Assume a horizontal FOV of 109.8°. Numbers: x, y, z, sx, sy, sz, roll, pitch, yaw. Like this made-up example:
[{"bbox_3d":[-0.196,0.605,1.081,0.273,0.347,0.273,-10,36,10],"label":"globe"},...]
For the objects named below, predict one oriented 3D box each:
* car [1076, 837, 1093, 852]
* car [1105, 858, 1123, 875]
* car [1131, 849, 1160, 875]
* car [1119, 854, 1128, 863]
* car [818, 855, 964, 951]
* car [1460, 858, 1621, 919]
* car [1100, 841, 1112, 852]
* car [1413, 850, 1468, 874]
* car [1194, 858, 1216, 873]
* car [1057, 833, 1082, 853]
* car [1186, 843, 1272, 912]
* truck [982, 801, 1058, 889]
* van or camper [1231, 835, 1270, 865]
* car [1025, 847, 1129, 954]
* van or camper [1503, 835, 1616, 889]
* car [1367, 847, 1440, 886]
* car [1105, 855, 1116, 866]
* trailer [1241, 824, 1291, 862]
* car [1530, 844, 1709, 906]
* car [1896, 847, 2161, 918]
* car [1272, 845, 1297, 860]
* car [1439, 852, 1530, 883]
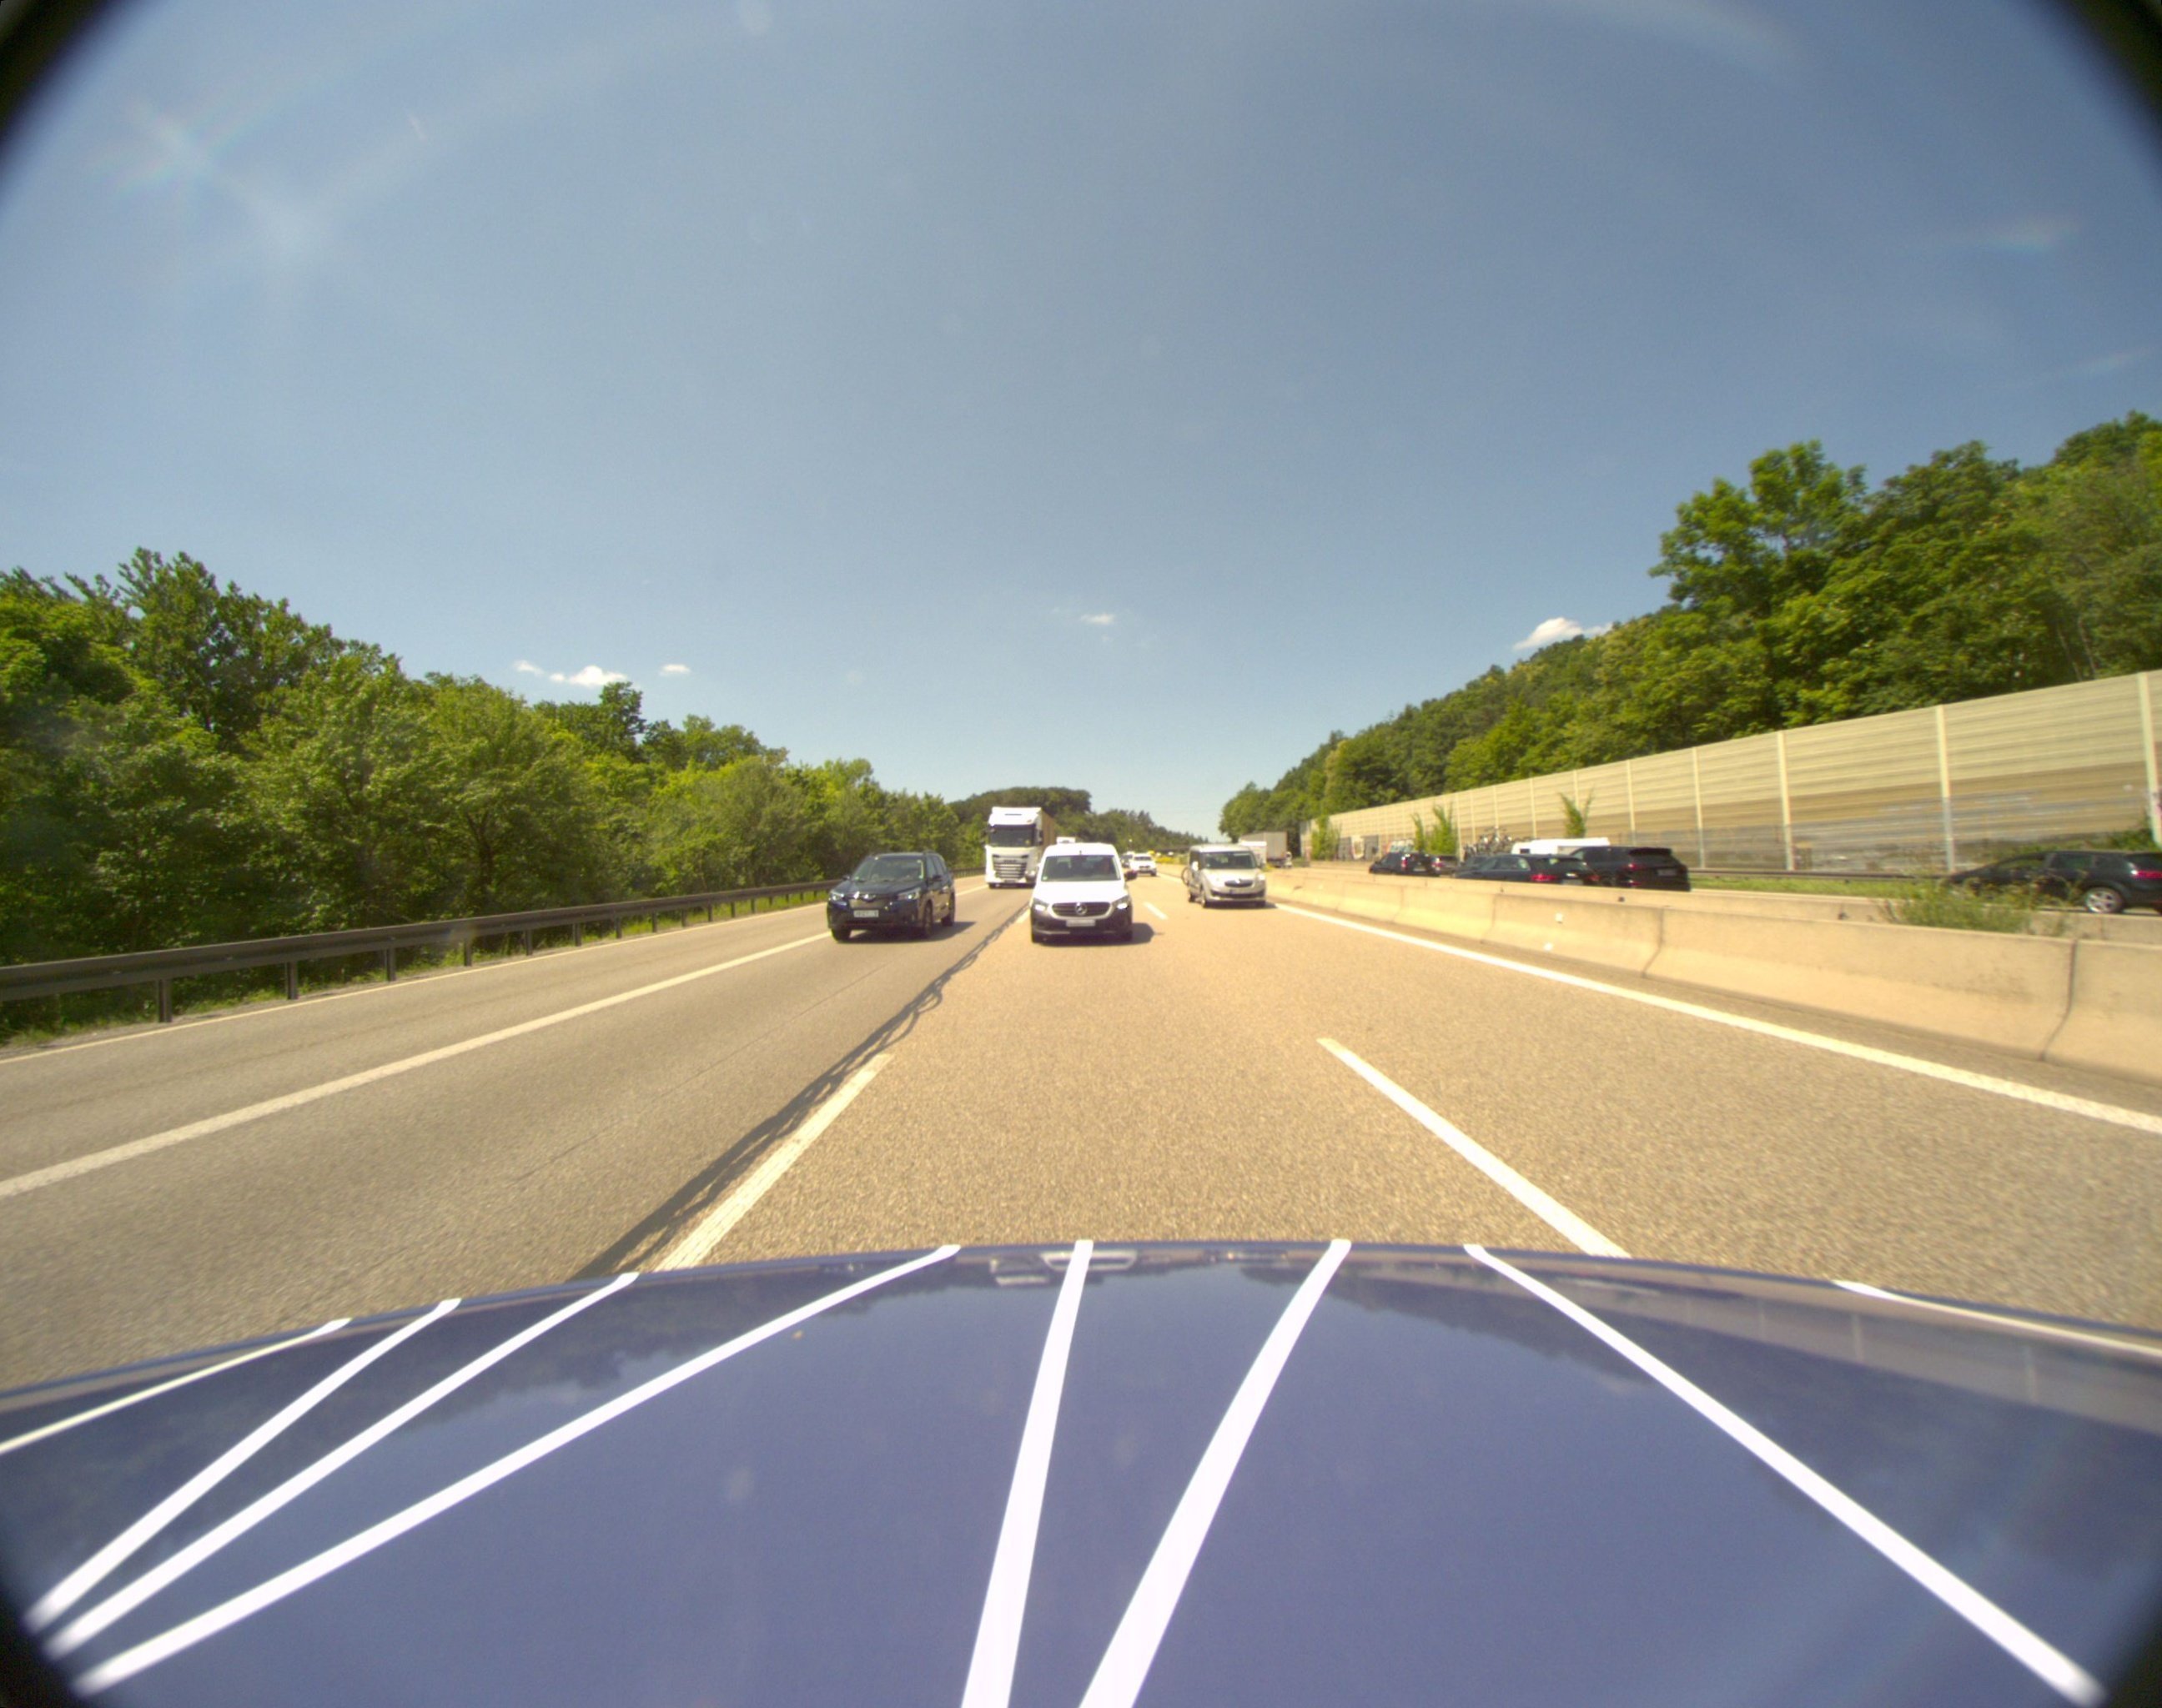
[{"bbox_3d":[0.668,-1.718,136.983,2.721,2.534,5.941,-1,1,3],"label":"car"},{"bbox_3d":[3.935,1.505,91.380,1.998,2.002,4.000,-1,0,1],"label":"car"},{"bbox_3d":[4.767,0.579,56.694,1.998,1.827,4.001,-1,0,3],"label":"car"},{"bbox_3d":[9.584,1.003,172.283,1.998,2.002,4.001,-1,0,3],"label":"car"},{"bbox_3d":[-3.730,0.882,15.729,1.816,1.658,4.203,-1,1,2],"label":"car"},{"bbox_3d":[11.717,0.813,19.738,1.618,1.368,4.270,-1,0,1],"label":"car"},{"bbox_3d":[6.077,-1.856,181.982,2.721,2.534,5.941,-1,1,3],"label":"car"},{"bbox_3d":[23.306,0.489,49.440,1.581,1.453,4.388,-1,0,1],"label":"car"},{"bbox_3d":[13.652,1.248,83.836,1.715,1.529,4.128,-1,0,0],"label":"car"},{"bbox_3d":[-1.406,-1.413,97.181,2.721,2.534,5.941,-1,1,3],"label":"car"},{"bbox_3d":[4.264,0.623,22.482,1.780,1.833,4.000,-1,0,1],"label":"car"},{"bbox_3d":[-3.145,-0.447,44.349,2.790,4.144,16.267,-1,0,1],"label":"truck"},{"bbox_3d":[16.276,-0.406,73.468,2.275,2.720,6.805,-1,1,0],"label":"van or camper"},{"bbox_3d":[0.070,0.761,14.837,1.729,1.760,4.313,0,1,4],"label":"car"},{"bbox_3d":[18.651,0.289,29.847,2.081,1.965,3.704,-1,0,-1],"label":"van or camper"},{"bbox_3d":[15.131,0.557,35.876,1.697,1.673,4.196,-1,0,1],"label":"car"},{"bbox_3d":[5.316,1.155,135.907,1.902,2.002,4.000,-1,0,2],"label":"car"},{"bbox_3d":[20.628,-1.202,85.732,2.819,3.886,13.827,-1,1,2],"label":"trailer"},{"bbox_3d":[15.962,0.566,22.932,1.930,1.630,4.927,-1,0,1],"label":"car"},{"bbox_3d":[22.747,0.568,17.950,1.952,1.427,4.693,-1,1,1],"label":"car"},{"bbox_3d":[24.861,-0.167,93.160,1.814,1.800,5.107,-1,0,1],"label":"car"},{"bbox_3d":[18.701,0.574,35.480,1.805,1.339,4.723,-1,0,1],"label":"car"}]
